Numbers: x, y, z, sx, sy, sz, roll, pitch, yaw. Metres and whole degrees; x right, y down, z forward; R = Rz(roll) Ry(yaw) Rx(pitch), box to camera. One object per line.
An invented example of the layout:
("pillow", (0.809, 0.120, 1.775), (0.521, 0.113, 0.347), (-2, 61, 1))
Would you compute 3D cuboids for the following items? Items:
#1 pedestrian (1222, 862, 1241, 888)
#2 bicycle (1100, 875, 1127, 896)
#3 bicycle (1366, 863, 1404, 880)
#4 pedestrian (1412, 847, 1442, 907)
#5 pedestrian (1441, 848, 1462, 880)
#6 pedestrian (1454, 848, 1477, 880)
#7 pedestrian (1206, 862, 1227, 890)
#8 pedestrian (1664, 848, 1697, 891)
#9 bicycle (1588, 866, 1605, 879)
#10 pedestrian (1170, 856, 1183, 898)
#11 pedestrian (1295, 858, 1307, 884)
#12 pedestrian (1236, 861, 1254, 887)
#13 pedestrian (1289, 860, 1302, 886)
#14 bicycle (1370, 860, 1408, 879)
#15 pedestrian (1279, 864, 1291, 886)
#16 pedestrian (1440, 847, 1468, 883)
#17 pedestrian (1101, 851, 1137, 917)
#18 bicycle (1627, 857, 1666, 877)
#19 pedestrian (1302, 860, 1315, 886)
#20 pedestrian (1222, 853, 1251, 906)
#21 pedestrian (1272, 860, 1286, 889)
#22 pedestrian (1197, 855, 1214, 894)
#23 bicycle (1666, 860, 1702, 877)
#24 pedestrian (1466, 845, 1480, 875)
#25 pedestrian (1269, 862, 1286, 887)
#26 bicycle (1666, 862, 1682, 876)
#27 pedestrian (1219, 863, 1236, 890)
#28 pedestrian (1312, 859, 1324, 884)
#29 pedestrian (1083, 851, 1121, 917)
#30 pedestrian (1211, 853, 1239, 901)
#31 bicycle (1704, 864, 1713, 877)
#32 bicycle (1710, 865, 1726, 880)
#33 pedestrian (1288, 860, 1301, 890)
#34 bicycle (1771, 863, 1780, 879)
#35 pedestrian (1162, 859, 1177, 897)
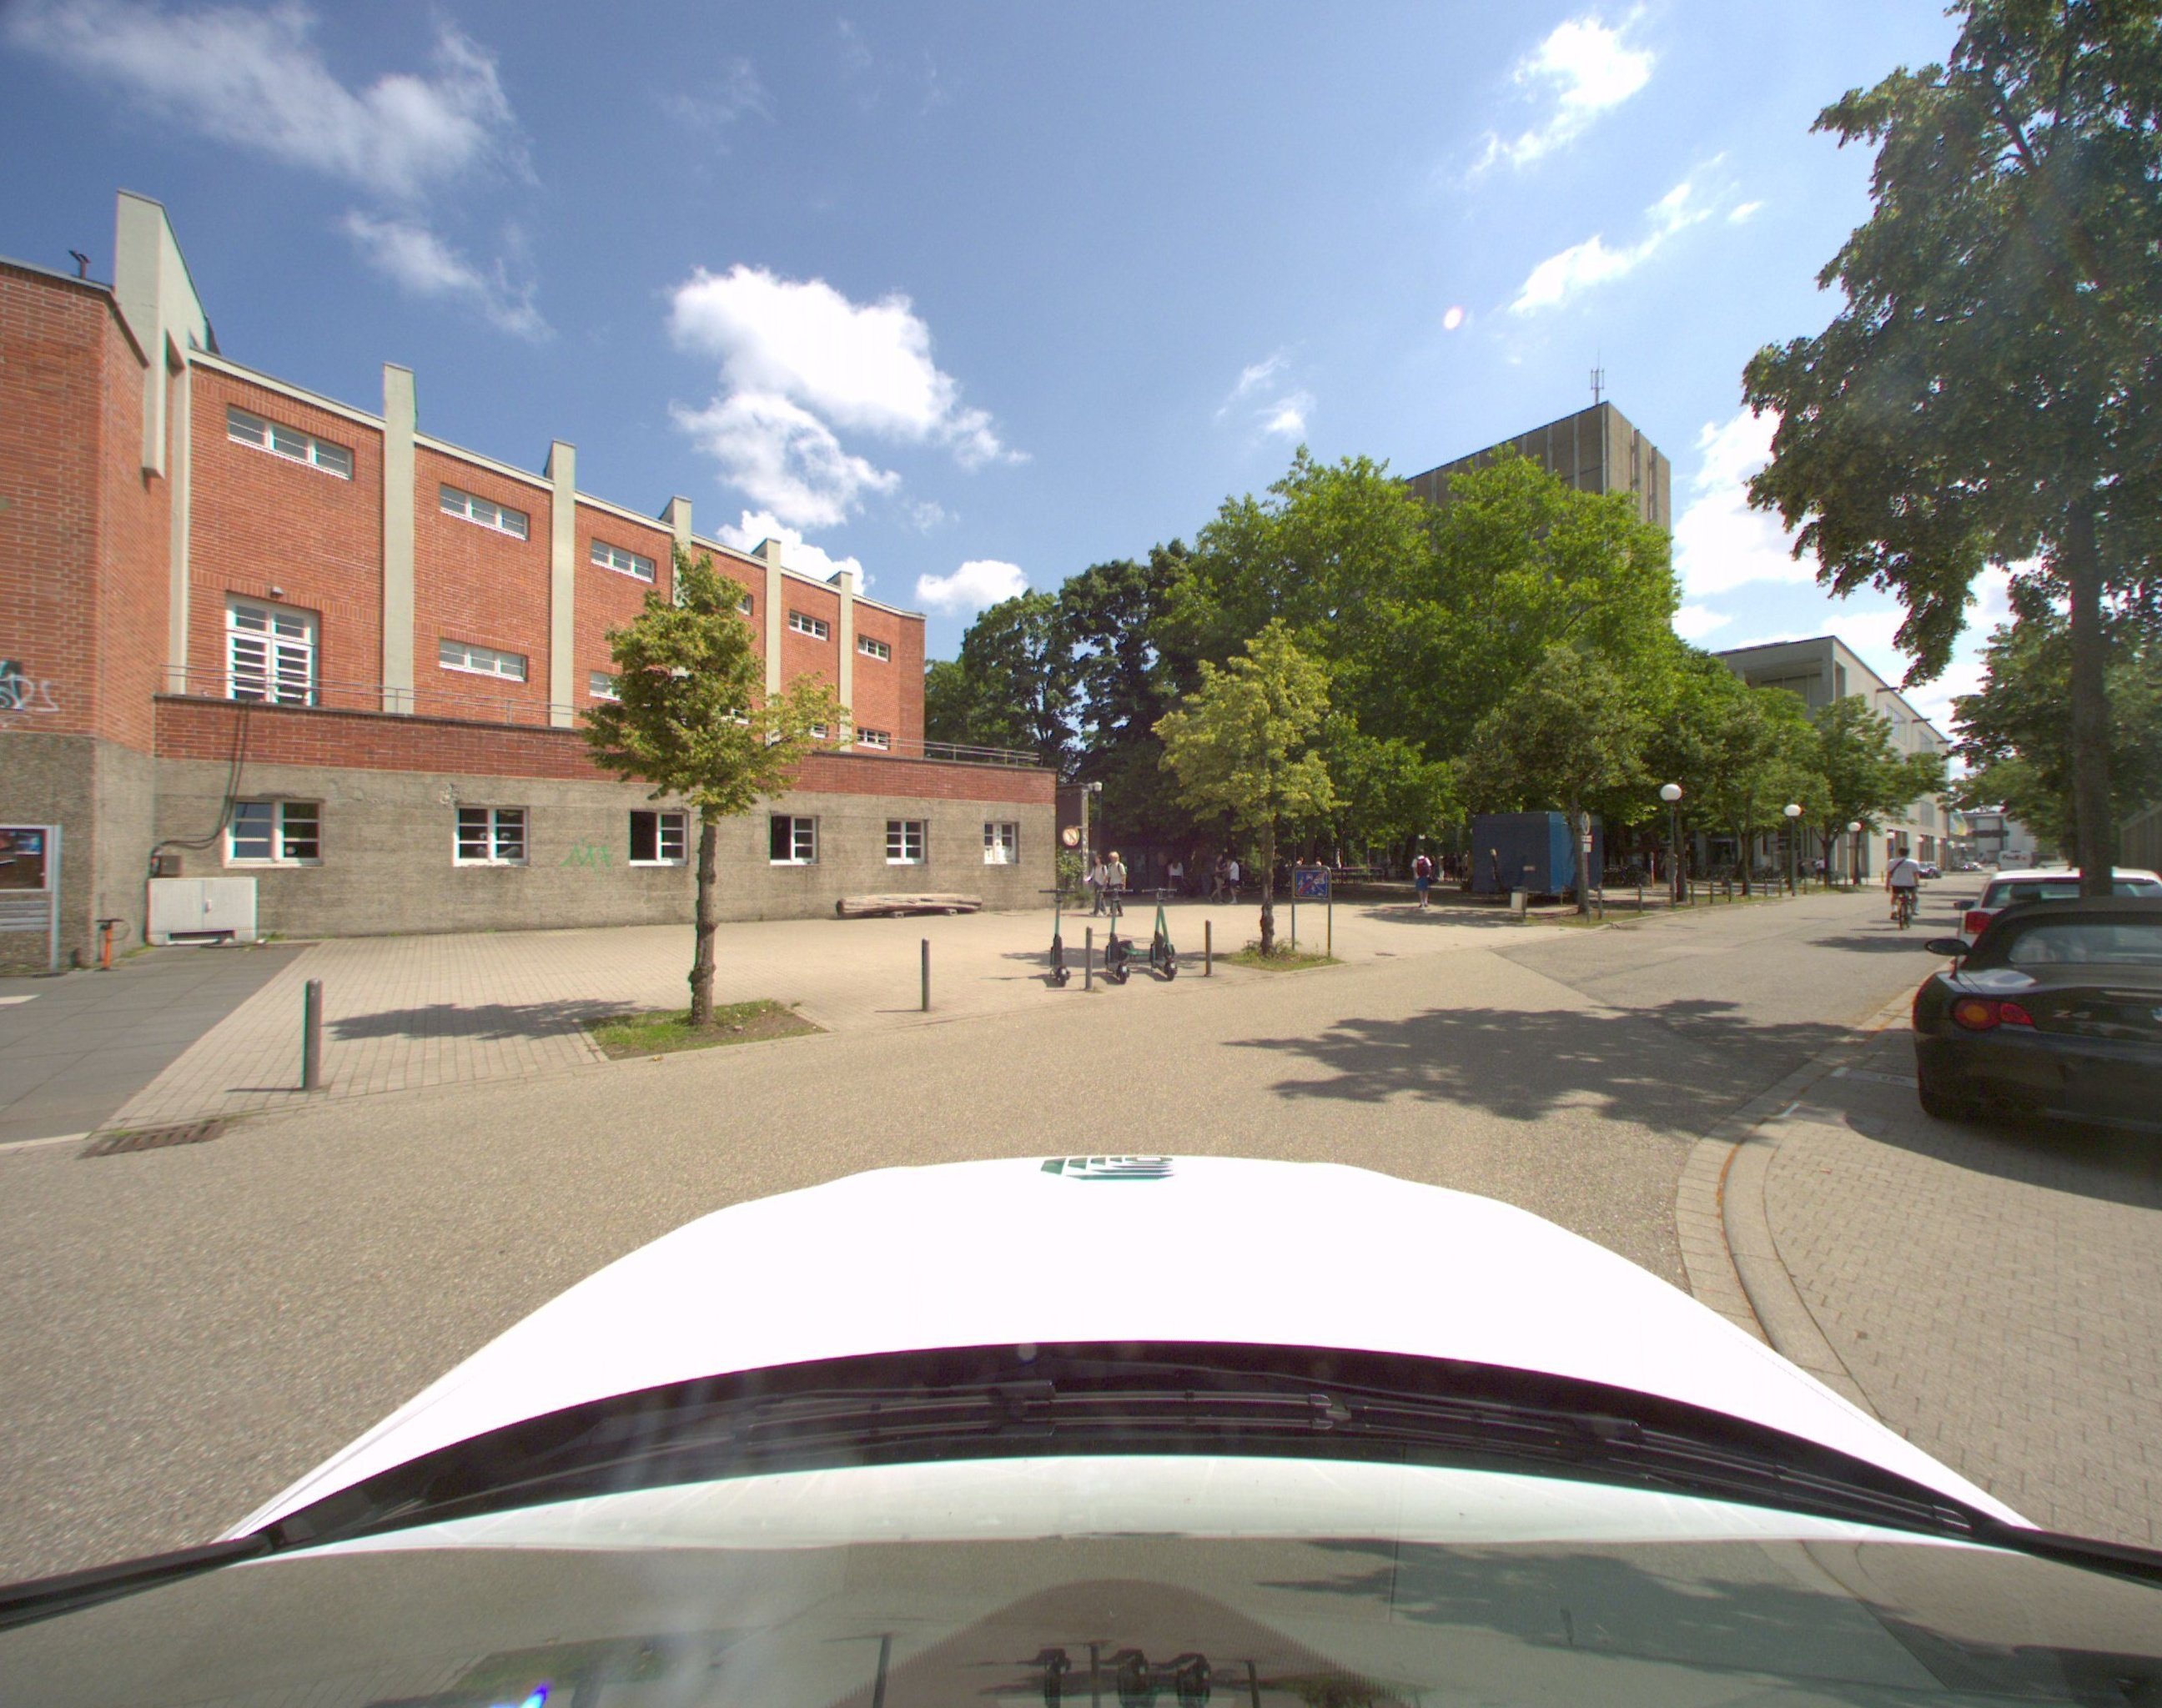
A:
("pedestrian", (7.325, 1.009, 39.596), (0.696, 1.271, 0.555), (0, 0, -38))
("bicycle", (1.413, 1.336, 35.043), (1.237, 0.883, 0.301), (1, -1, -37))
("bicycle", (17.816, 1.021, 47.767), (1.989, 1.008, 0.588), (-1, -1, 43))
("pedestrian", (10.932, 0.718, 25.756), (0.844, 1.835, 0.883), (0, 1, 21))
("pedestrian", (22.809, 0.609, 50.140), (0.818, 1.948, 0.852), (2, 1, -1))
("pedestrian", (23.624, 0.608, 50.044), (0.915, 1.948, 0.892), (2, 1, -1))
("pedestrian", (6.709, 1.085, 40.368), (0.782, 1.323, 0.682), (0, -1, -37))
("pedestrian", (27.975, 0.703, 38.016), (0.894, 1.954, 0.912), (1, 1, -29))
("bicycle", (43.596, 1.542, 68.875), (1.982, 1.086, 0.547), (0, 1, -39))
("pedestrian", (3.959, 0.934, 33.835), (0.526, 1.710, 0.449), (0, 1, 7))
("pedestrian", (12.775, 0.987, 47.307), (0.500, 1.522, 0.477), (0, 0, 40))
("pedestrian", (8.091, 0.976, 40.203), (0.696, 1.271, 0.555), (0, 0, -38))
("pedestrian", (10.479, 0.906, 39.818), (0.588, 1.233, 0.746), (0, 1, 17))
("bicycle", (18.364, 0.948, 48.595), (1.989, 1.119, 0.588), (-1, -1, 43))
("pedestrian", (11.248, 1.139, 44.901), (0.387, 1.194, 0.735), (0, 0, 42))
("pedestrian", (21.168, 0.612, 46.206), (1.118, 1.948, 0.892), (2, 1, -1))
("pedestrian", (1.044, 0.807, 22.208), (0.810, 1.762, 0.558), (1, -1, -39))
("bicycle", (41.713, 0.940, 60.066), (2.265, 1.450, 0.610), (0, -1, 18))
("pedestrian", (11.054, 0.910, 39.592), (0.588, 1.233, 0.746), (0, 1, 17))
("pedestrian", (5.462, 0.897, 28.584), (0.878, 1.820, 0.447), (1, -2, -11))
("pedestrian", (9.629, 1.009, 39.549), (0.588, 1.369, 0.707), (0, 1, 17))
("pedestrian", (5.359, 0.881, 34.956), (0.672, 1.651, 0.505), (1, 1, 12))
("bicycle", (43.885, 1.051, 59.323), (1.998, 1.254, 0.590), (-1, -1, 19))
("pedestrian", (25.002, 0.399, 51.941), (0.586, 1.904, 0.517), (0, -1, 1))
("pedestrian", (10.264, 1.070, 42.501), (0.563, 1.250, 0.772), (0, 0, 40))
("bicycle", (45.431, 1.147, 62.395), (1.859, 1.032, 0.471), (0, -1, -38))
("pedestrian", (7.385, 1.125, 41.135), (0.562, 1.323, 0.639), (0, -1, -37))
("pedestrian", (13.610, 1.005, 46.816), (0.500, 1.422, 0.463), (0, 0, 41))
("pedestrian", (0.579, 0.821, 22.674), (0.922, 1.779, 0.571), (1, -1, -40))
("pedestrian", (5.168, 0.830, 29.241), (0.878, 1.720, 0.487), (1, -2, -11))
("bicycle", (45.515, 1.202, 59.065), (0.471, 0.965, 1.667), (0, -1, 40))
("bicycle", (48.810, 1.417, 62.376), (1.982, 1.086, 0.547), (0, 1, -39))
("pedestrian", (10.227, 1.004, 39.033), (0.588, 1.369, 0.746), (0, 1, 17))
("bicycle", (46.638, 1.134, 54.704), (0.378, 1.025, 1.826), (0, -1, 39))
("pedestrian", (3.744, 1.003, 34.335), (0.600, 1.593, 0.414), (1, 1, 9))
